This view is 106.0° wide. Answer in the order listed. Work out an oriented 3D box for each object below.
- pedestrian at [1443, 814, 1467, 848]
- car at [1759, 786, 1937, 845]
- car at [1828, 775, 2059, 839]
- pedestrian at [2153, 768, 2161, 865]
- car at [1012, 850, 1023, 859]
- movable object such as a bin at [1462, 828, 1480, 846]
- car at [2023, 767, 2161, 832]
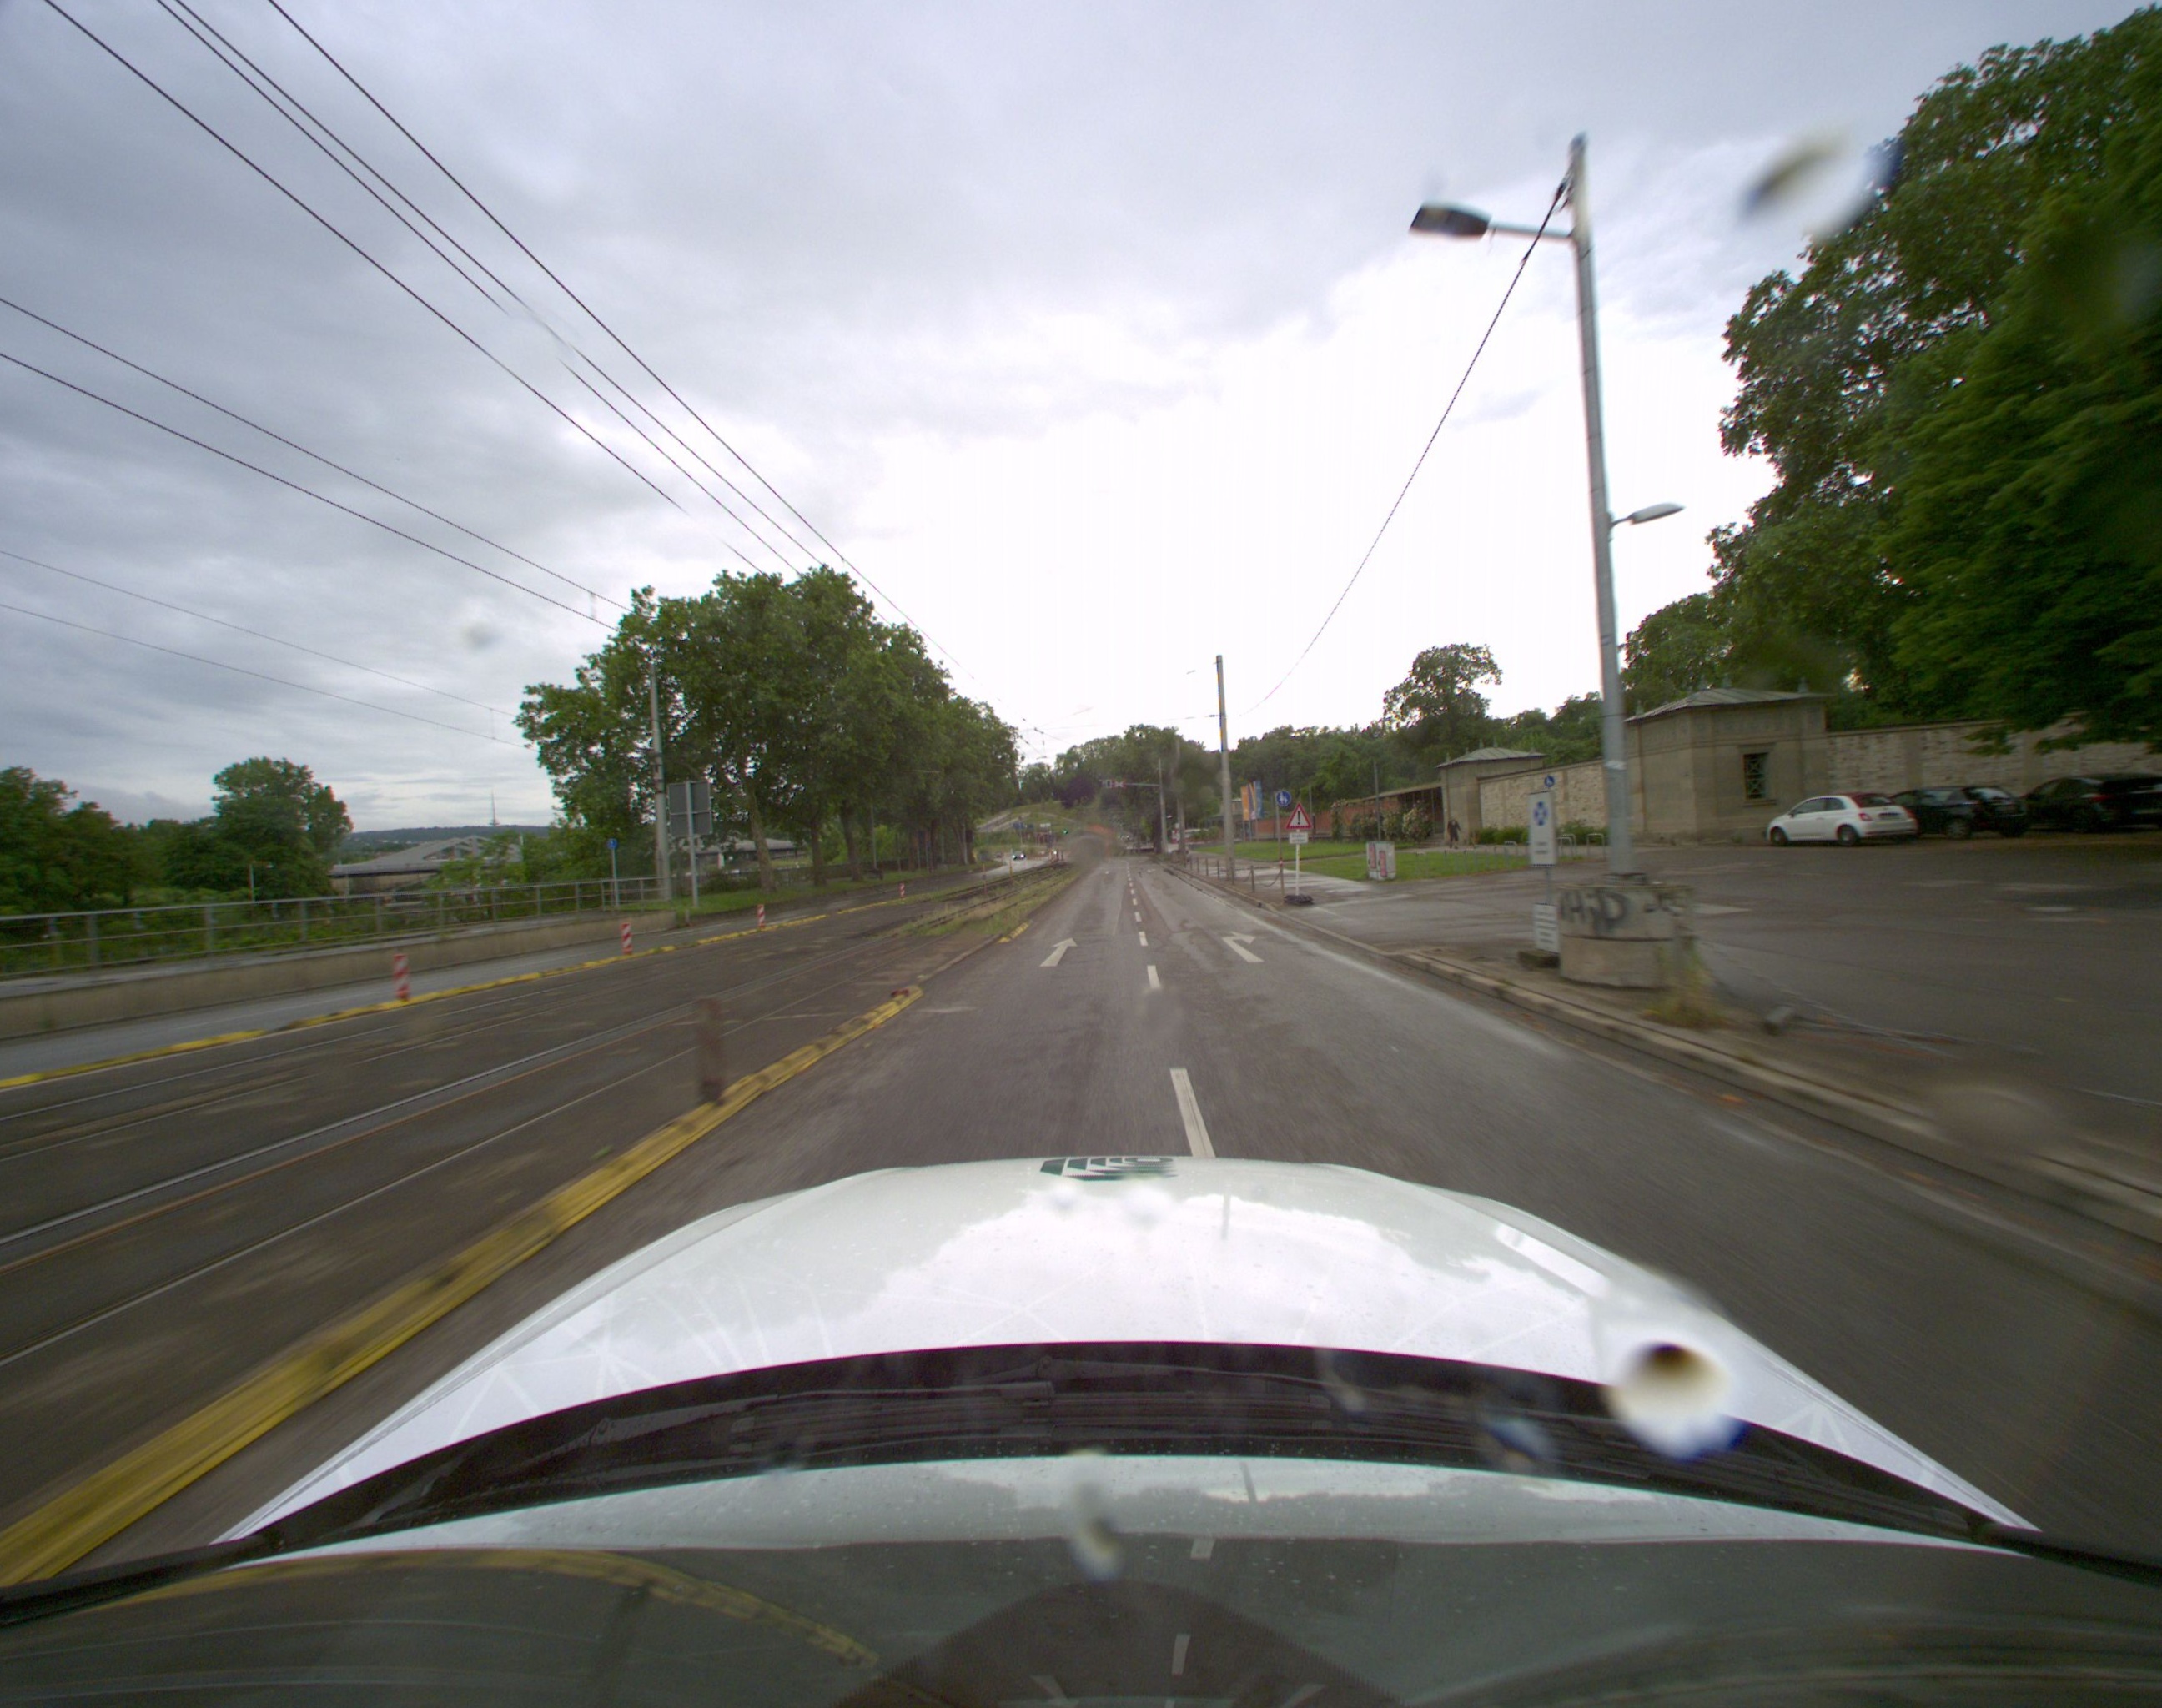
[{"bbox_3d":[19.490,-1.187,42.452,0.725,1.710,0.982,-4,0,3],"label":"pedestrian"},{"bbox_3d":[22.013,-1.107,23.580,1.829,1.454,3.601,-4,2,2],"label":"car"},{"bbox_3d":[24.443,-1.282,23.339,1.894,1.489,4.176,-4,1,-9],"label":"car"},{"bbox_3d":[16.313,-0.498,11.674,0.854,1.590,0.672,-5,0,29],"label":"pedestrian"},{"bbox_3d":[-11.080,0.141,142.852,1.743,1.429,4.555,-5,0,-3],"label":"car"},{"bbox_3d":[20.046,-0.859,41.879,0.340,0.872,1.193,-4,0,4],"label":"movable object such as a bin"},{"bbox_3d":[27.817,-1.493,22.306,1.753,1.527,4.129,-4,1,37],"label":"car"}]
